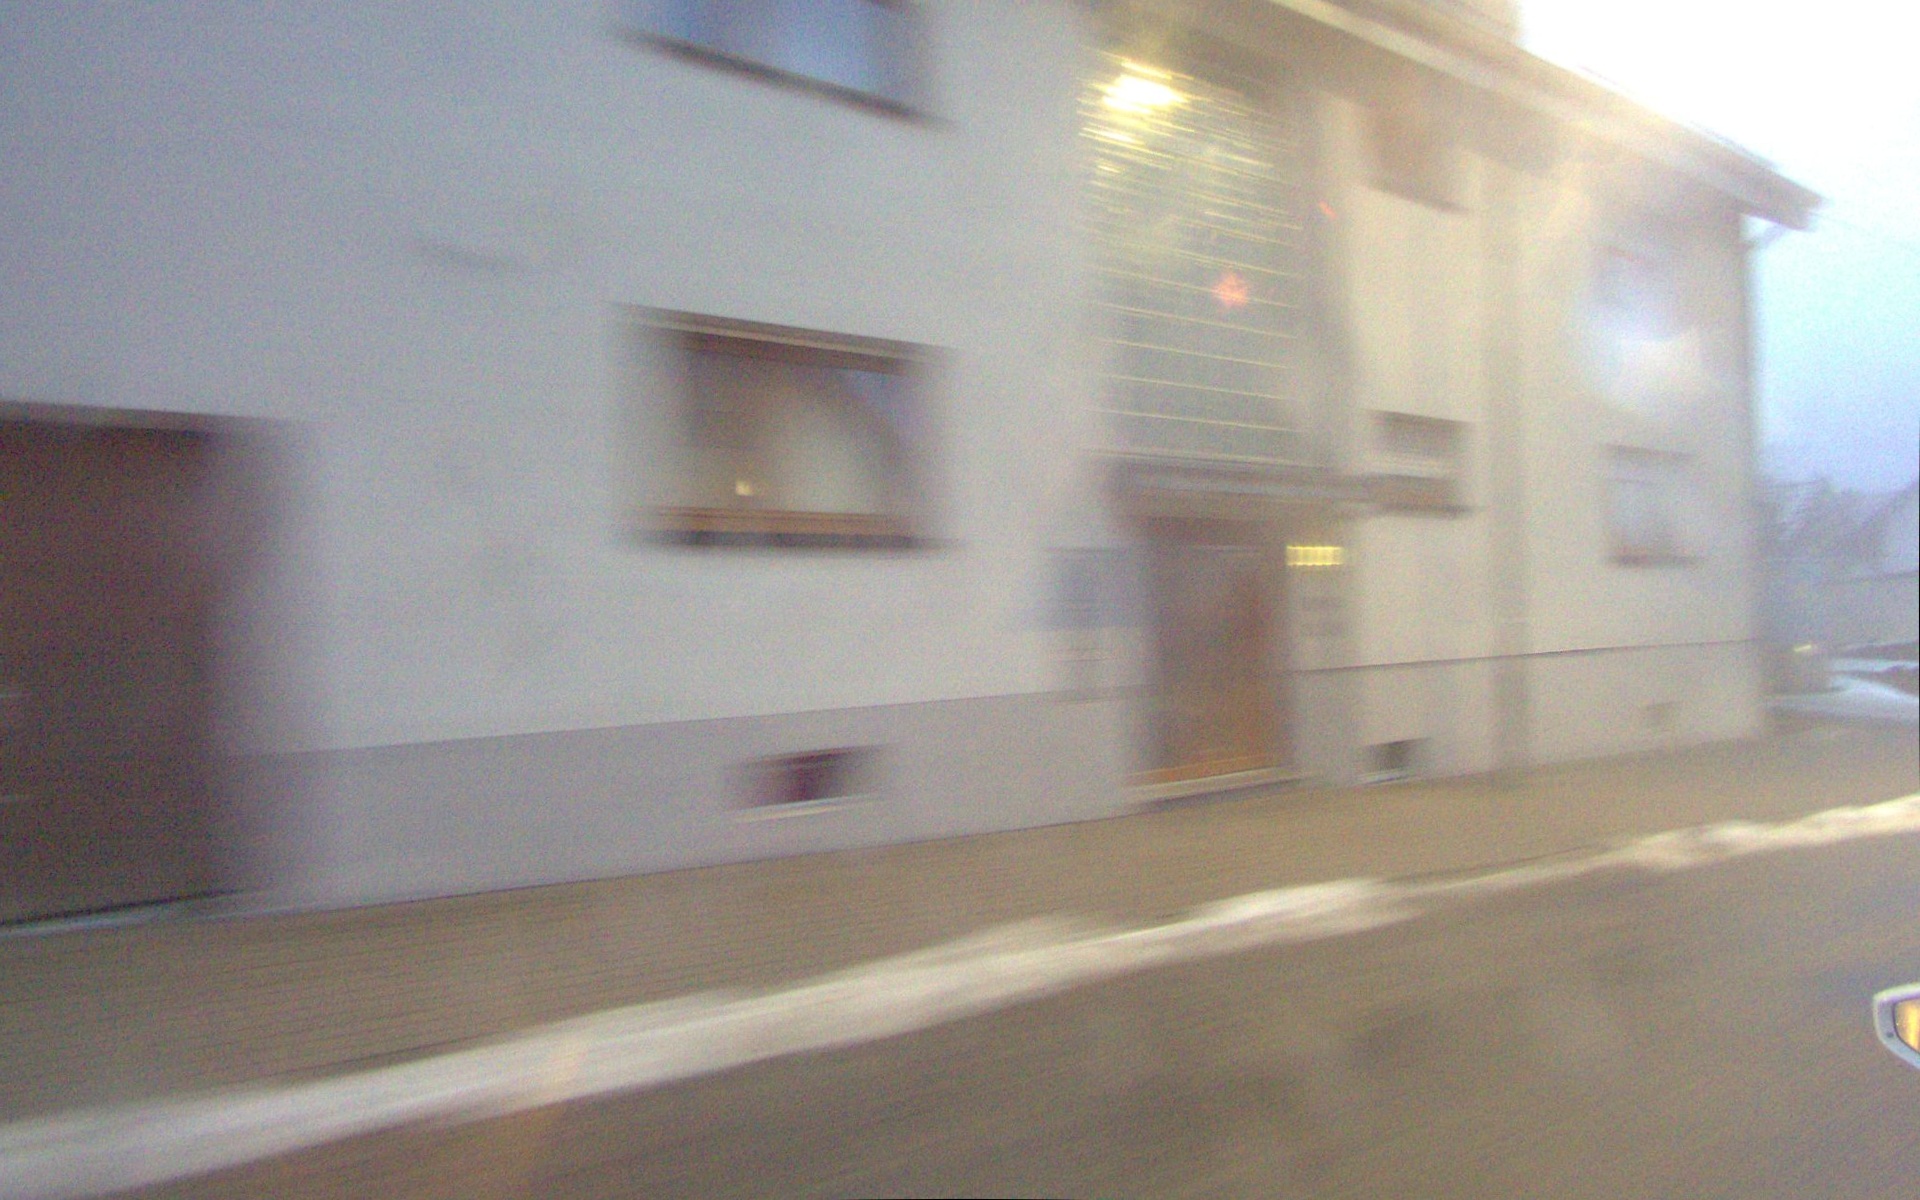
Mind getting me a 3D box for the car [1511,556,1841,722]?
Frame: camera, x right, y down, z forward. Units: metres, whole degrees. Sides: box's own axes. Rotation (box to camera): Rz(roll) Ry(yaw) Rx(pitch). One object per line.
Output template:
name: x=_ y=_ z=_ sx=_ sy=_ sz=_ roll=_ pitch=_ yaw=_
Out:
car: x=11.326 y=0.677 z=16.038 sx=3.946 sy=2.307 sz=1.988 roll=-6 pitch=-3 yaw=43
